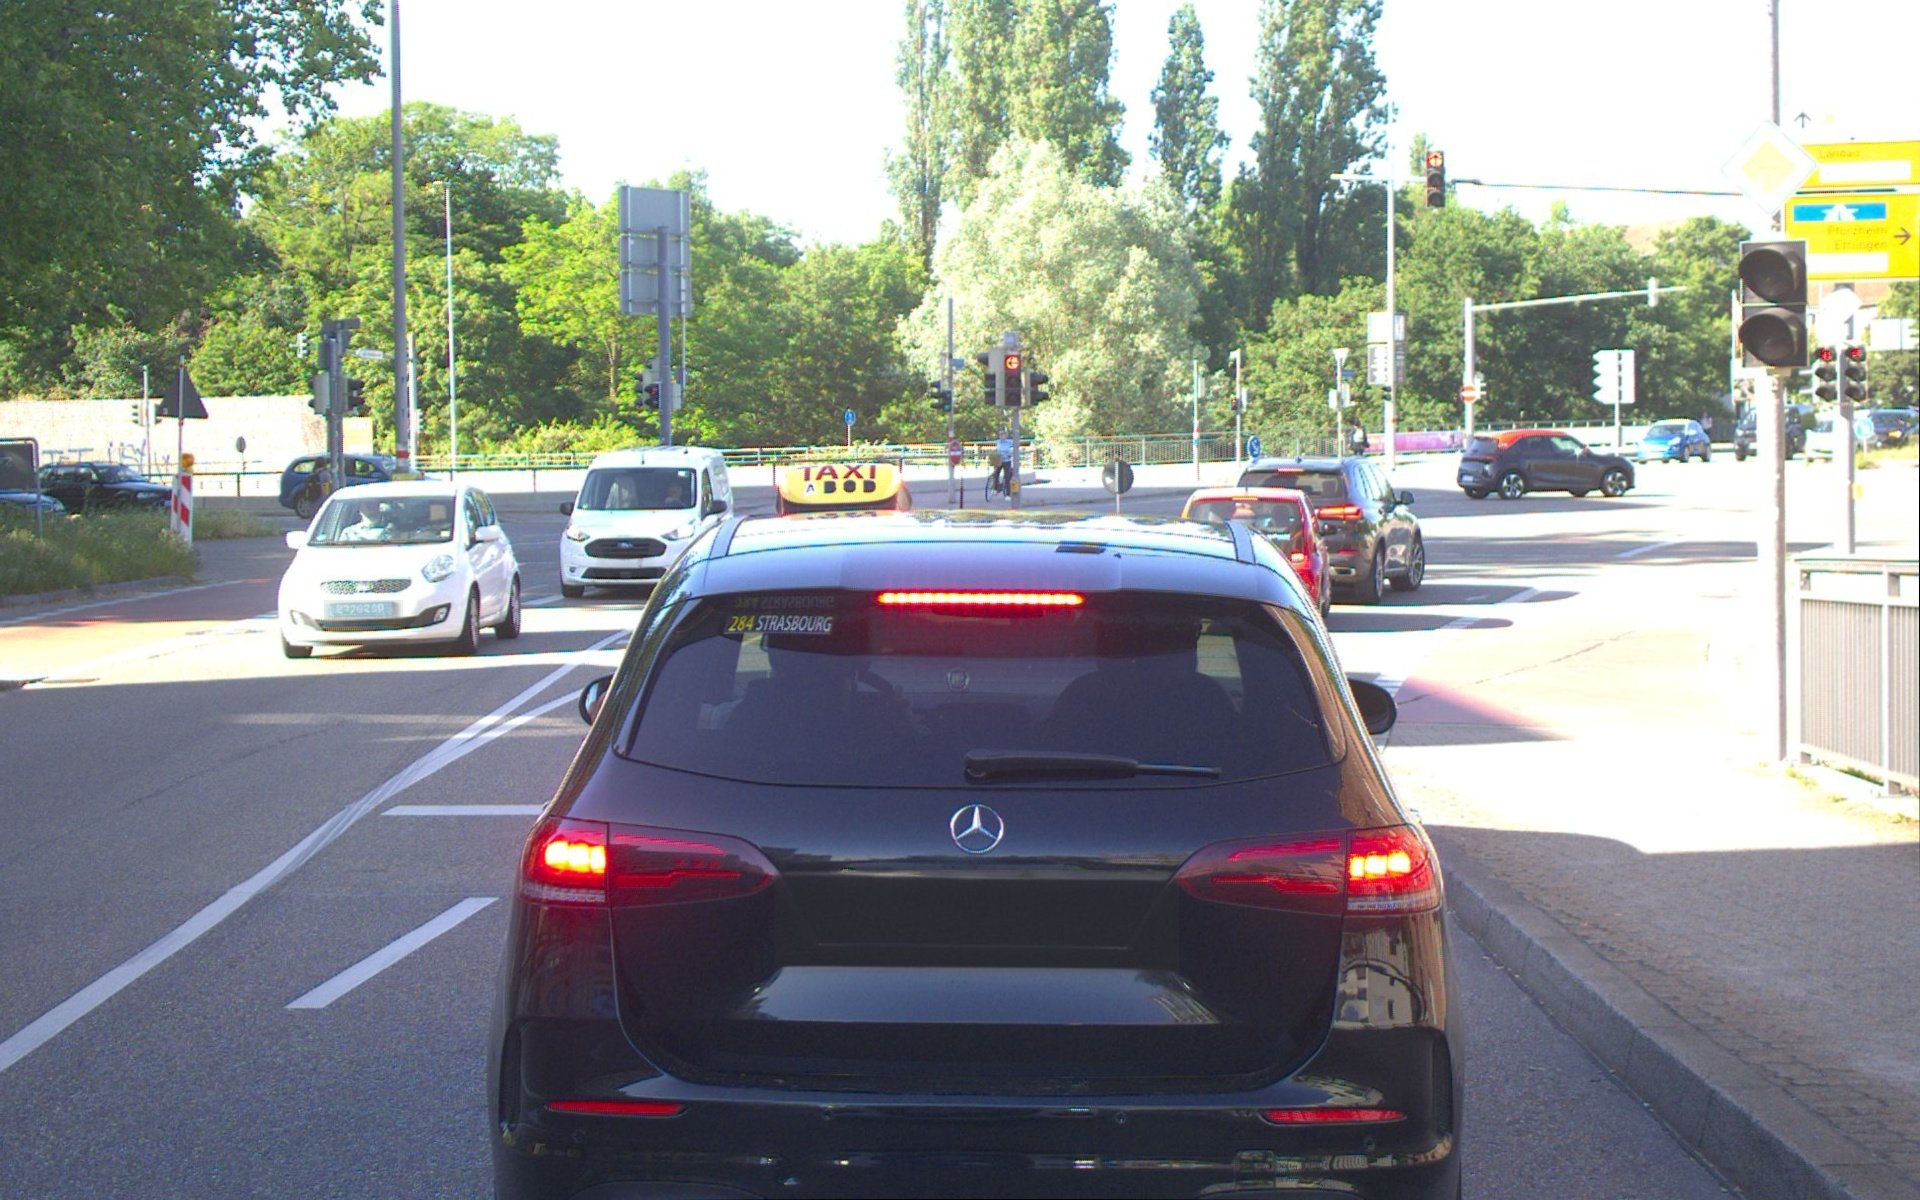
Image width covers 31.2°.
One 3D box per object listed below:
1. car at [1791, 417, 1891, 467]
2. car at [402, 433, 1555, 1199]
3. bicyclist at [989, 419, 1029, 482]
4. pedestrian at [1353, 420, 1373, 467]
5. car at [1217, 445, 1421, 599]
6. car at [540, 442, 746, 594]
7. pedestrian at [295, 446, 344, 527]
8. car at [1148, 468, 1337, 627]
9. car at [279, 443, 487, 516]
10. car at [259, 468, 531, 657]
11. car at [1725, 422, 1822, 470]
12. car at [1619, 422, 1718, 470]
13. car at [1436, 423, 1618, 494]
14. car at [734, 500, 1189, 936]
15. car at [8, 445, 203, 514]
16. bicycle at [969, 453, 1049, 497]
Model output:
[{"bbox_3d":[28.842,-5.177,112.525,1.882,1.572,3.992,1,3,35],"label":"car"},{"bbox_3d":[-0.015,0.485,7.647,1.877,1.607,4.001,1,2,-1],"label":"car"},{"bbox_3d":[1.226,-3.750,86.421,0.804,1.545,0.527,-3,3,-30],"label":"bicyclist"},{"bbox_3d":[13.912,-5.402,118.688,0.451,1.580,0.500,0,3,40],"label":"pedestrian"},{"bbox_3d":[4.498,-1.001,42.589,1.723,1.806,4.294,0,2,17],"label":"car"},{"bbox_3d":[-3.996,-1.107,44.089,1.918,1.788,4.899,-1,3,3],"label":"car"},{"bbox_3d":[-12.190,-2.163,65.402,0.705,1.520,0.743,1,2,10],"label":"pedestrian"},{"bbox_3d":[3.083,-0.602,36.976,1.722,1.516,3.485,0,4,10],"label":"car"},{"bbox_3d":[-13.431,-2.803,80.001,4.401,1.624,1.889,0,2,21],"label":"car"},{"bbox_3d":[-5.328,-0.412,32.880,1.778,1.629,4.000,-1,3,2],"label":"car"},{"bbox_3d":[27.649,-5.236,116.785,1.882,1.572,3.992,1,3,35],"label":"car"},{"bbox_3d":[24.323,-5.286,117.892,1.882,1.572,3.992,1,3,35],"label":"car"},{"bbox_3d":[13.449,-3.362,81.514,3.987,1.624,1.891,-2,3,-31],"label":"car"},{"bbox_3d":[0.038,0.387,14.392,1.640,1.524,3.474,-1,2,1],"label":"car"},{"bbox_3d":[-20.806,-2.927,83.682,4.403,1.624,1.888,1,2,27],"label":"car"},{"bbox_3d":[1.232,-3.150,86.456,1.983,1.046,0.527,-3,3,-30],"label":"bicycle"}]
